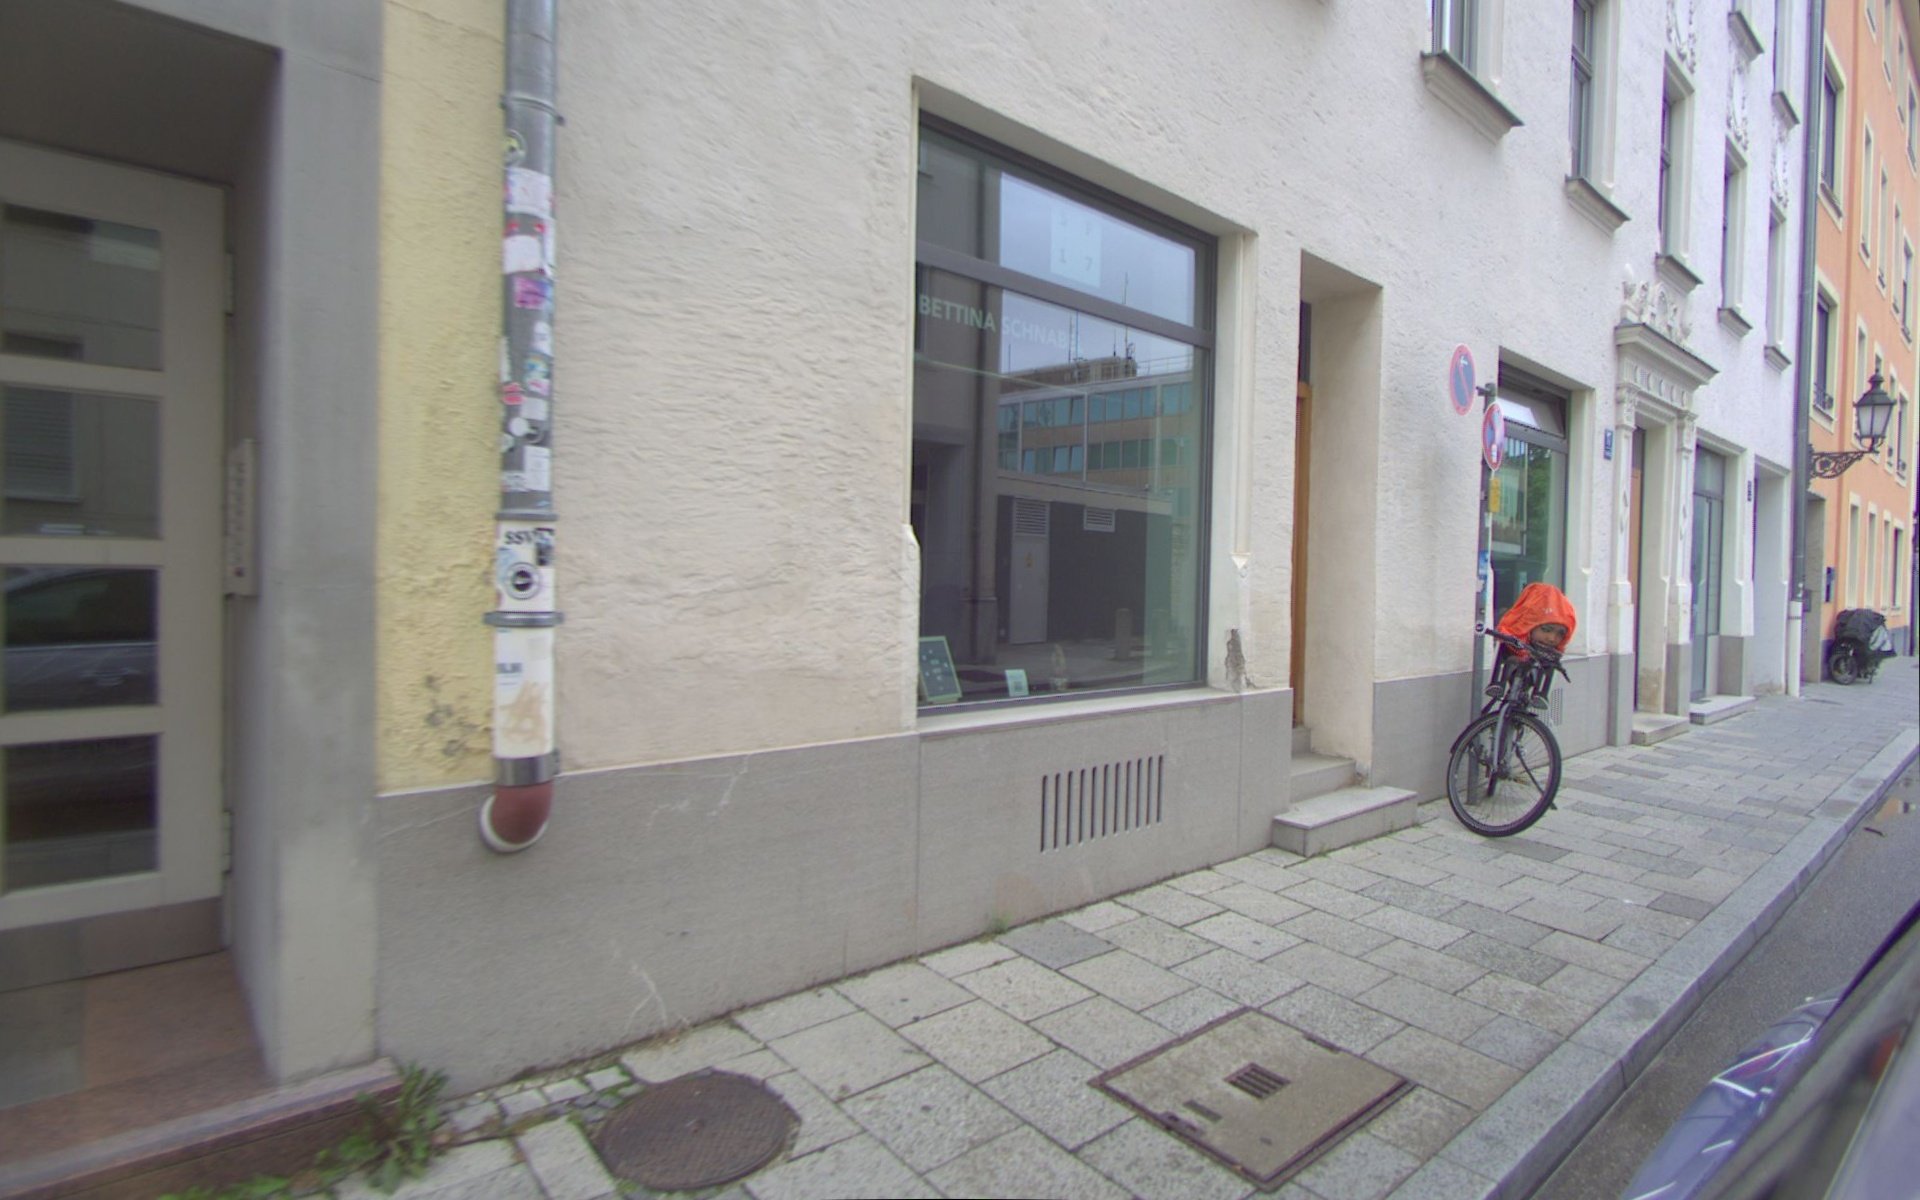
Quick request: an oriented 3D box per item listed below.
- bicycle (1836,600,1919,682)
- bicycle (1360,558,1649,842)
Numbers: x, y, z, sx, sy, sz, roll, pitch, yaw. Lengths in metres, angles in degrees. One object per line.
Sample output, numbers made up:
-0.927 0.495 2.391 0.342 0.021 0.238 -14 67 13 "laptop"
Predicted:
15.650 0.674 17.207 2.340 1.255 0.681 1 5 -40 "bicycle"
3.299 0.501 6.039 2.083 1.413 0.715 1 3 -40 "bicycle"
